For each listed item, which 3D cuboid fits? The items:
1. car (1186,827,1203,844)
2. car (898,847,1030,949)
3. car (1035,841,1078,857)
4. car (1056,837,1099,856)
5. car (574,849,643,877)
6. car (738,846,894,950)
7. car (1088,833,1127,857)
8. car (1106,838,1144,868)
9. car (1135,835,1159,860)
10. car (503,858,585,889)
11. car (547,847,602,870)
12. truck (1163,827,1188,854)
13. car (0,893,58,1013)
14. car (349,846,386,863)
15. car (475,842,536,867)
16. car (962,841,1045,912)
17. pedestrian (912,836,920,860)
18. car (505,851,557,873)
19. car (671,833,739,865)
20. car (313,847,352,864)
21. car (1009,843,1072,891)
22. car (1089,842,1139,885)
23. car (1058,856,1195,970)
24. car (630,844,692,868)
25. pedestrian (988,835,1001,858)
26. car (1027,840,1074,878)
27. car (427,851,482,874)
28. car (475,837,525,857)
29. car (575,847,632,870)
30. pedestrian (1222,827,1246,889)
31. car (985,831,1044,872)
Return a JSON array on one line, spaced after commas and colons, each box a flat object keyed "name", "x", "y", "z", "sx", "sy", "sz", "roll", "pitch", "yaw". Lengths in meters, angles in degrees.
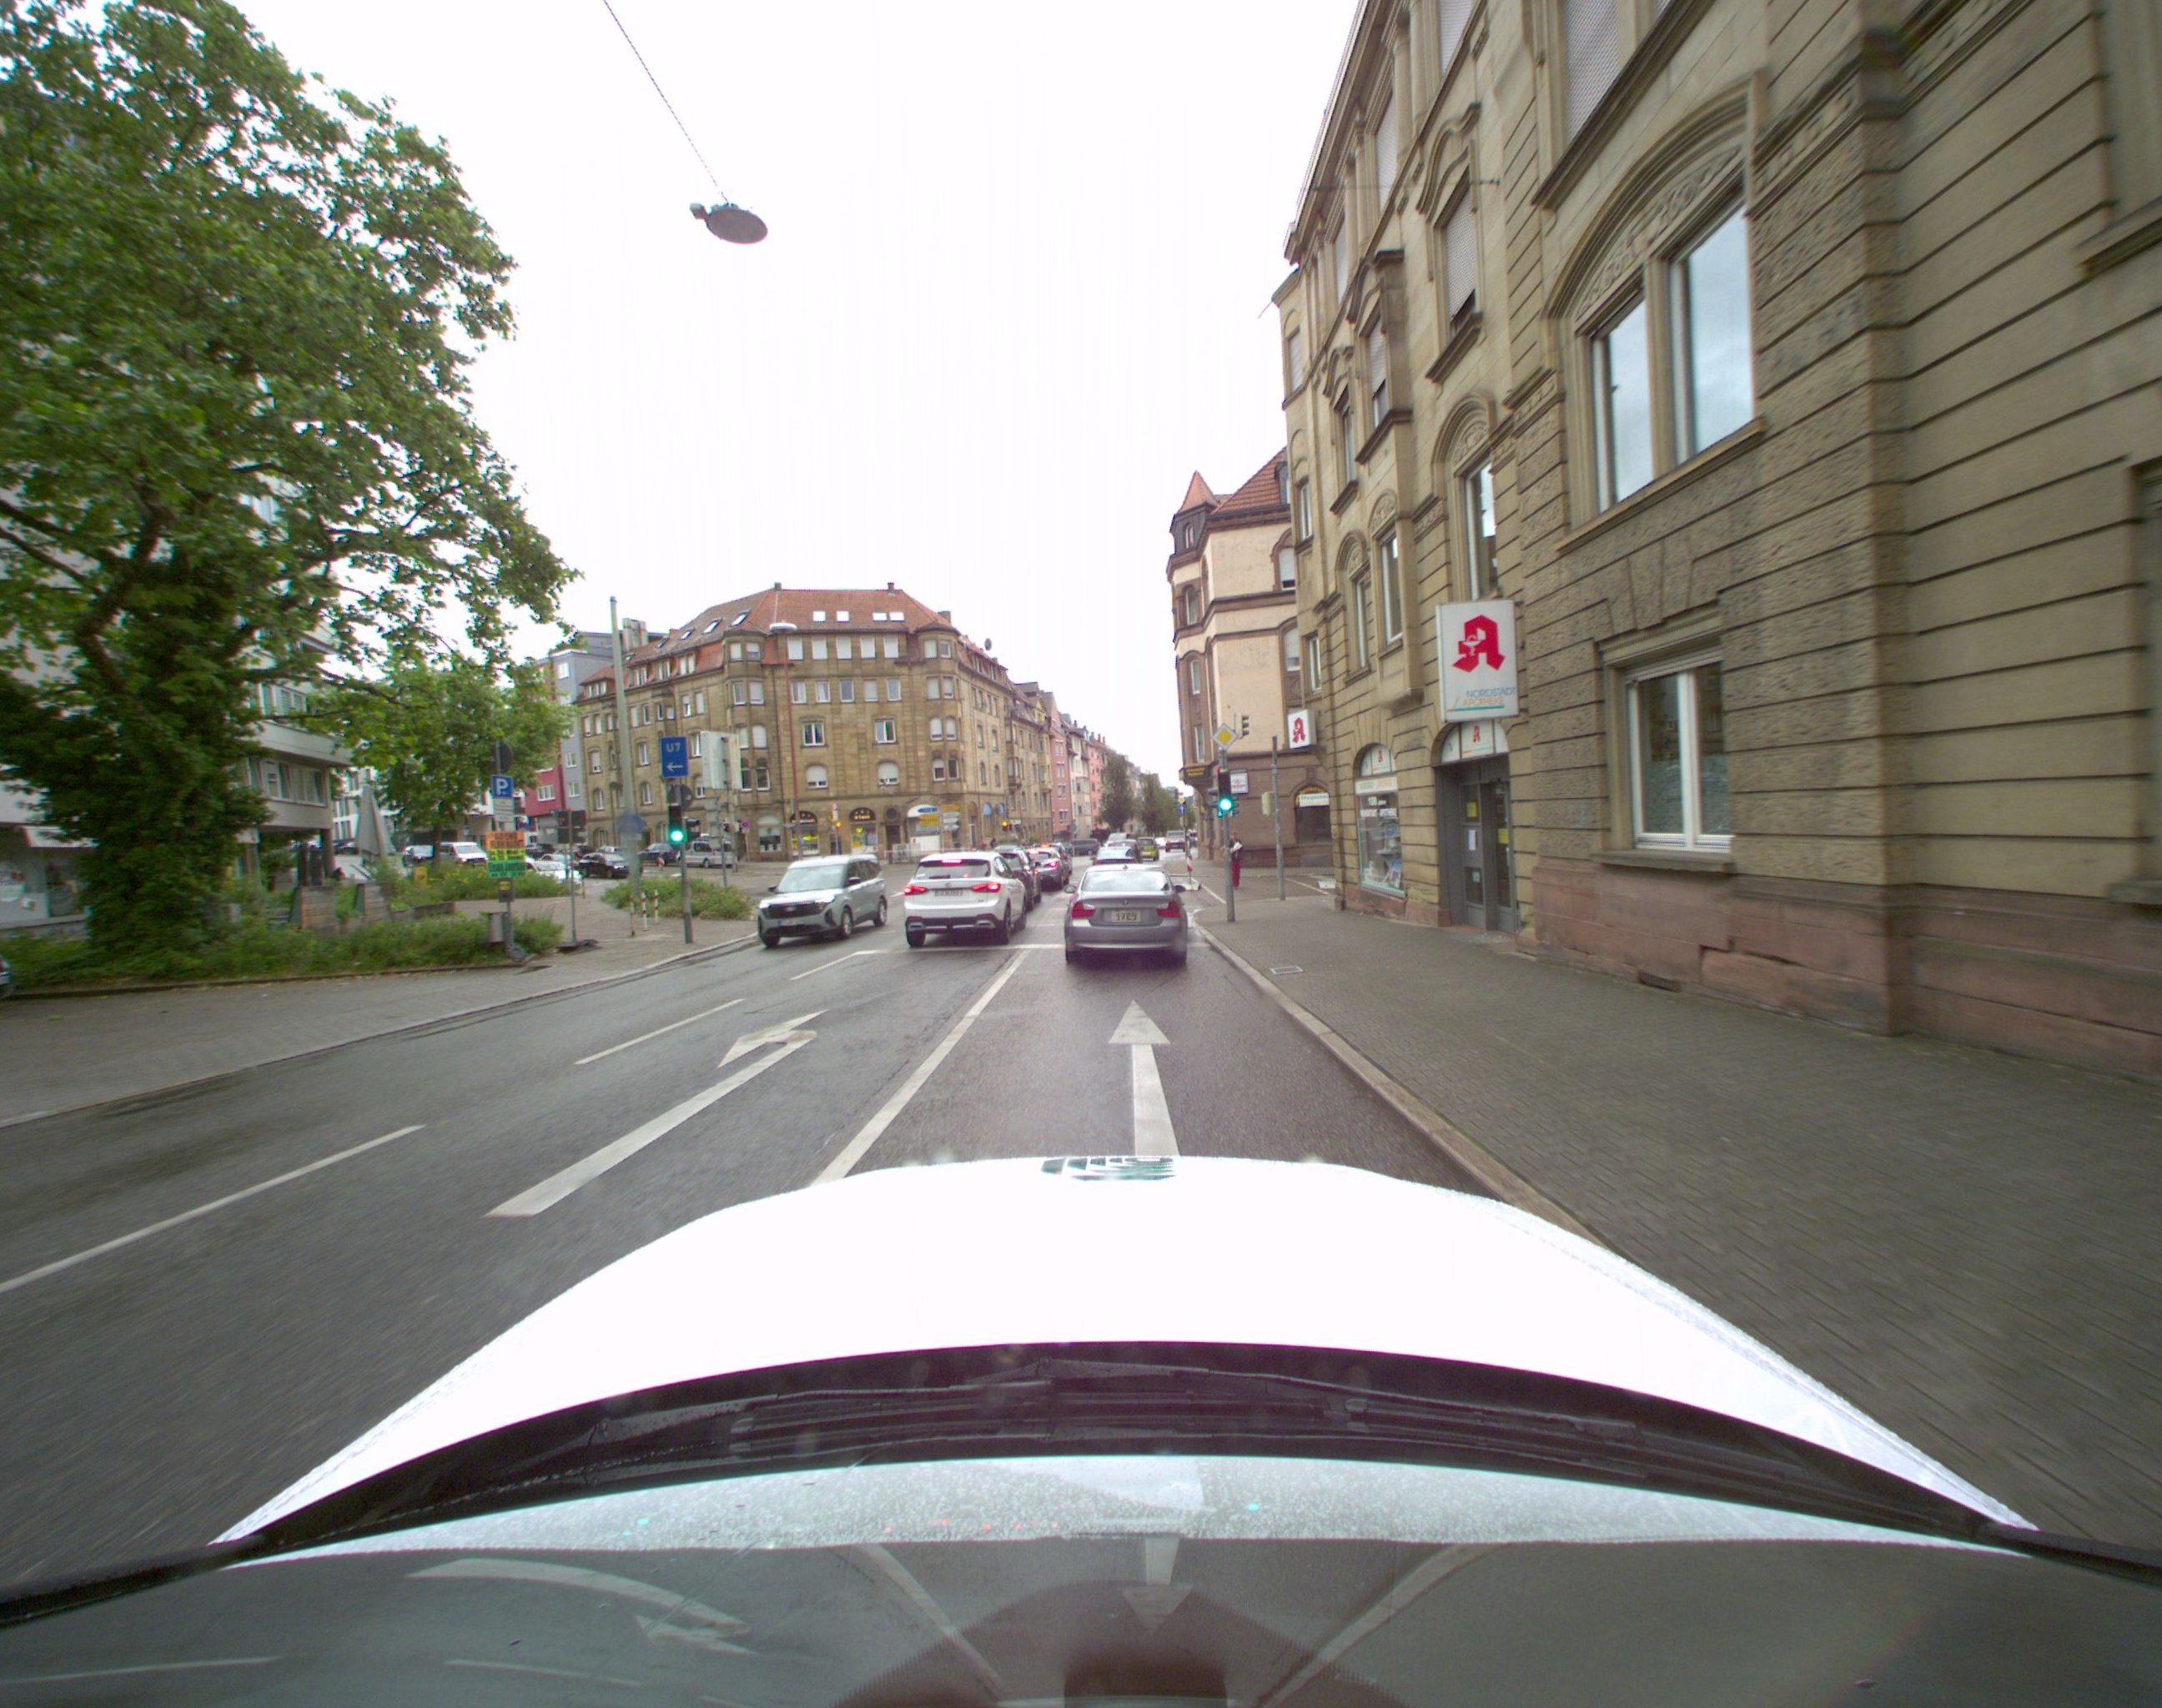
[{"name": "car", "x": 13.533, "y": -2.210, "z": 97.037, "sx": 1.801, "sy": 1.904, "sz": 4.011, "roll": -1, "pitch": -1, "yaw": 10}, {"name": "car", "x": -2.085, "y": 0.726, "z": 15.757, "sx": 1.745, "sy": 1.644, "sz": 4.381, "roll": -2, "pitch": 0, "yaw": 2}, {"name": "car", "x": -2.592, "y": -0.517, "z": 85.598, "sx": 4.121, "sy": 1.510, "sz": 1.879, "roll": -3, "pitch": 1, "yaw": 10}, {"name": "car", "x": -0.397, "y": -0.814, "z": 90.608, "sx": 4.658, "sy": 1.938, "sz": 1.864, "roll": -1, "pitch": 1, "yaw": 0}, {"name": "car", "x": -27.708, "y": 0.549, "z": 47.754, "sx": 3.972, "sy": 1.491, "sz": 1.778, "roll": -1, "pitch": 3, "yaw": 32}, {"name": "car", "x": -5.778, "y": 0.864, "z": 18.380, "sx": 1.807, "sy": 1.881, "sz": 4.244, "roll": -6, "pitch": 0, "yaw": 2}, {"name": "car", "x": 2.188, "y": -0.735, "z": 68.601, "sx": 1.749, "sy": 1.846, "sz": 4.116, "roll": -4, "pitch": 0, "yaw": -21}, {"name": "car", "x": 2.384, "y": -0.062, "z": 43.315, "sx": 1.688, "sy": 1.483, "sz": 3.801, "roll": -2, "pitch": 0, "yaw": 7}, {"name": "car", "x": 4.397, "y": -0.414, "z": 53.862, "sx": 1.441, "sy": 1.565, "sz": 3.339, "roll": -2, "pitch": 0, "yaw": 7}, {"name": "car", "x": -28.182, "y": 0.994, "z": 42.704, "sx": 4.336, "sy": 1.491, "sz": 1.926, "roll": -1, "pitch": 1, "yaw": 32}, {"name": "car", "x": -41.669, "y": 0.378, "z": 66.959, "sx": 4.161, "sy": 1.704, "sz": 2.013, "roll": -1, "pitch": 1, "yaw": 29}, {"name": "truck", "x": 8.822, "y": -1.226, "z": 75.755, "sx": 2.019, "sy": 2.412, "sz": 4.840, "roll": -2, "pitch": 0, "yaw": 10}, {"name": "car", "x": -17.154, "y": 1.469, "z": 10.649, "sx": 4.227, "sy": 1.642, "sz": 1.924, "roll": -2, "pitch": 0, "yaw": -28}, {"name": "car", "x": -77.083, "y": 0.039, "z": 87.989, "sx": 4.161, "sy": 1.704, "sz": 1.708, "roll": -1, "pitch": 1, "yaw": 29}, {"name": "car", "x": -38.639, "y": 0.051, "z": 54.644, "sx": 4.247, "sy": 1.537, "sz": 1.750, "roll": -1, "pitch": 3, "yaw": 32}, {"name": "car", "x": -2.059, "y": 0.548, "z": 22.814, "sx": 1.745, "sy": 1.644, "sz": 4.215, "roll": -2, "pitch": 2, "yaw": 2}, {"name": "pedestrian", "x": -12.130, "y": -0.455, "z": 59.991, "sx": 0.523, "sy": 1.774, "sz": 0.690, "roll": -2, "pitch": 1, "yaw": -14}, {"name": "car", "x": -47.344, "y": 0.686, "z": 70.143, "sx": 4.161, "sy": 1.704, "sz": 2.013, "roll": -1, "pitch": 1, "yaw": 29}, {"name": "car", "x": -27.019, "y": -0.341, "z": 58.488, "sx": 4.742, "sy": 2.168, "sz": 2.013, "roll": -1, "pitch": 1, "yaw": 29}, {"name": "car", "x": -79.000, "y": 0.123, "z": 85.932, "sx": 4.161, "sy": 1.704, "sz": 1.708, "roll": -1, "pitch": 1, "yaw": 29}, {"name": "car", "x": -1.394, "y": 0.413, "z": 29.532, "sx": 1.744, "sy": 1.483, "sz": 4.186, "roll": -2, "pitch": 1, "yaw": 4}, {"name": "car", "x": 1.255, "y": 0.321, "z": 30.125, "sx": 1.674, "sy": 1.428, "sz": 3.745, "roll": -2, "pitch": 0, "yaw": 4}, {"name": "car", "x": 0.654, "y": 0.779, "z": 12.615, "sx": 1.763, "sy": 1.428, "sz": 3.742, "roll": -2, "pitch": 0, "yaw": 2}, {"name": "car", "x": -31.368, "y": 0.136, "z": 60.848, "sx": 4.325, "sy": 1.704, "sz": 2.013, "roll": -1, "pitch": 1, "yaw": 29}, {"name": "pedestrian", "x": -6.583, "y": -0.545, "z": 61.781, "sx": 0.829, "sy": 1.702, "sz": 0.635, "roll": -2, "pitch": 1, "yaw": -19}, {"name": "car", "x": -1.299, "y": 0.193, "z": 36.454, "sx": 1.745, "sy": 1.535, "sz": 4.217, "roll": -2, "pitch": 0, "yaw": 2}, {"name": "car", "x": -44.669, "y": 0.612, "z": 58.079, "sx": 4.101, "sy": 1.538, "sz": 1.749, "roll": -1, "pitch": 0, "yaw": 32}, {"name": "car", "x": -51.915, "y": -0.606, "z": 72.739, "sx": 4.161, "sy": 1.704, "sz": 2.013, "roll": -1, "pitch": 1, "yaw": 29}, {"name": "car", "x": -37.749, "y": 0.384, "z": 64.381, "sx": 4.161, "sy": 1.704, "sz": 2.013, "roll": -1, "pitch": 1, "yaw": 29}, {"name": "pedestrian", "x": 4.994, "y": 0.120, "z": 26.568, "sx": 0.693, "sy": 1.949, "sz": 1.094, "roll": -2, "pitch": 2, "yaw": 10}, {"name": "car", "x": -3.223, "y": -0.161, "z": 40.142, "sx": 1.704, "sy": 1.496, "sz": 3.694, "roll": -13, "pitch": 1, "yaw": 10}]
